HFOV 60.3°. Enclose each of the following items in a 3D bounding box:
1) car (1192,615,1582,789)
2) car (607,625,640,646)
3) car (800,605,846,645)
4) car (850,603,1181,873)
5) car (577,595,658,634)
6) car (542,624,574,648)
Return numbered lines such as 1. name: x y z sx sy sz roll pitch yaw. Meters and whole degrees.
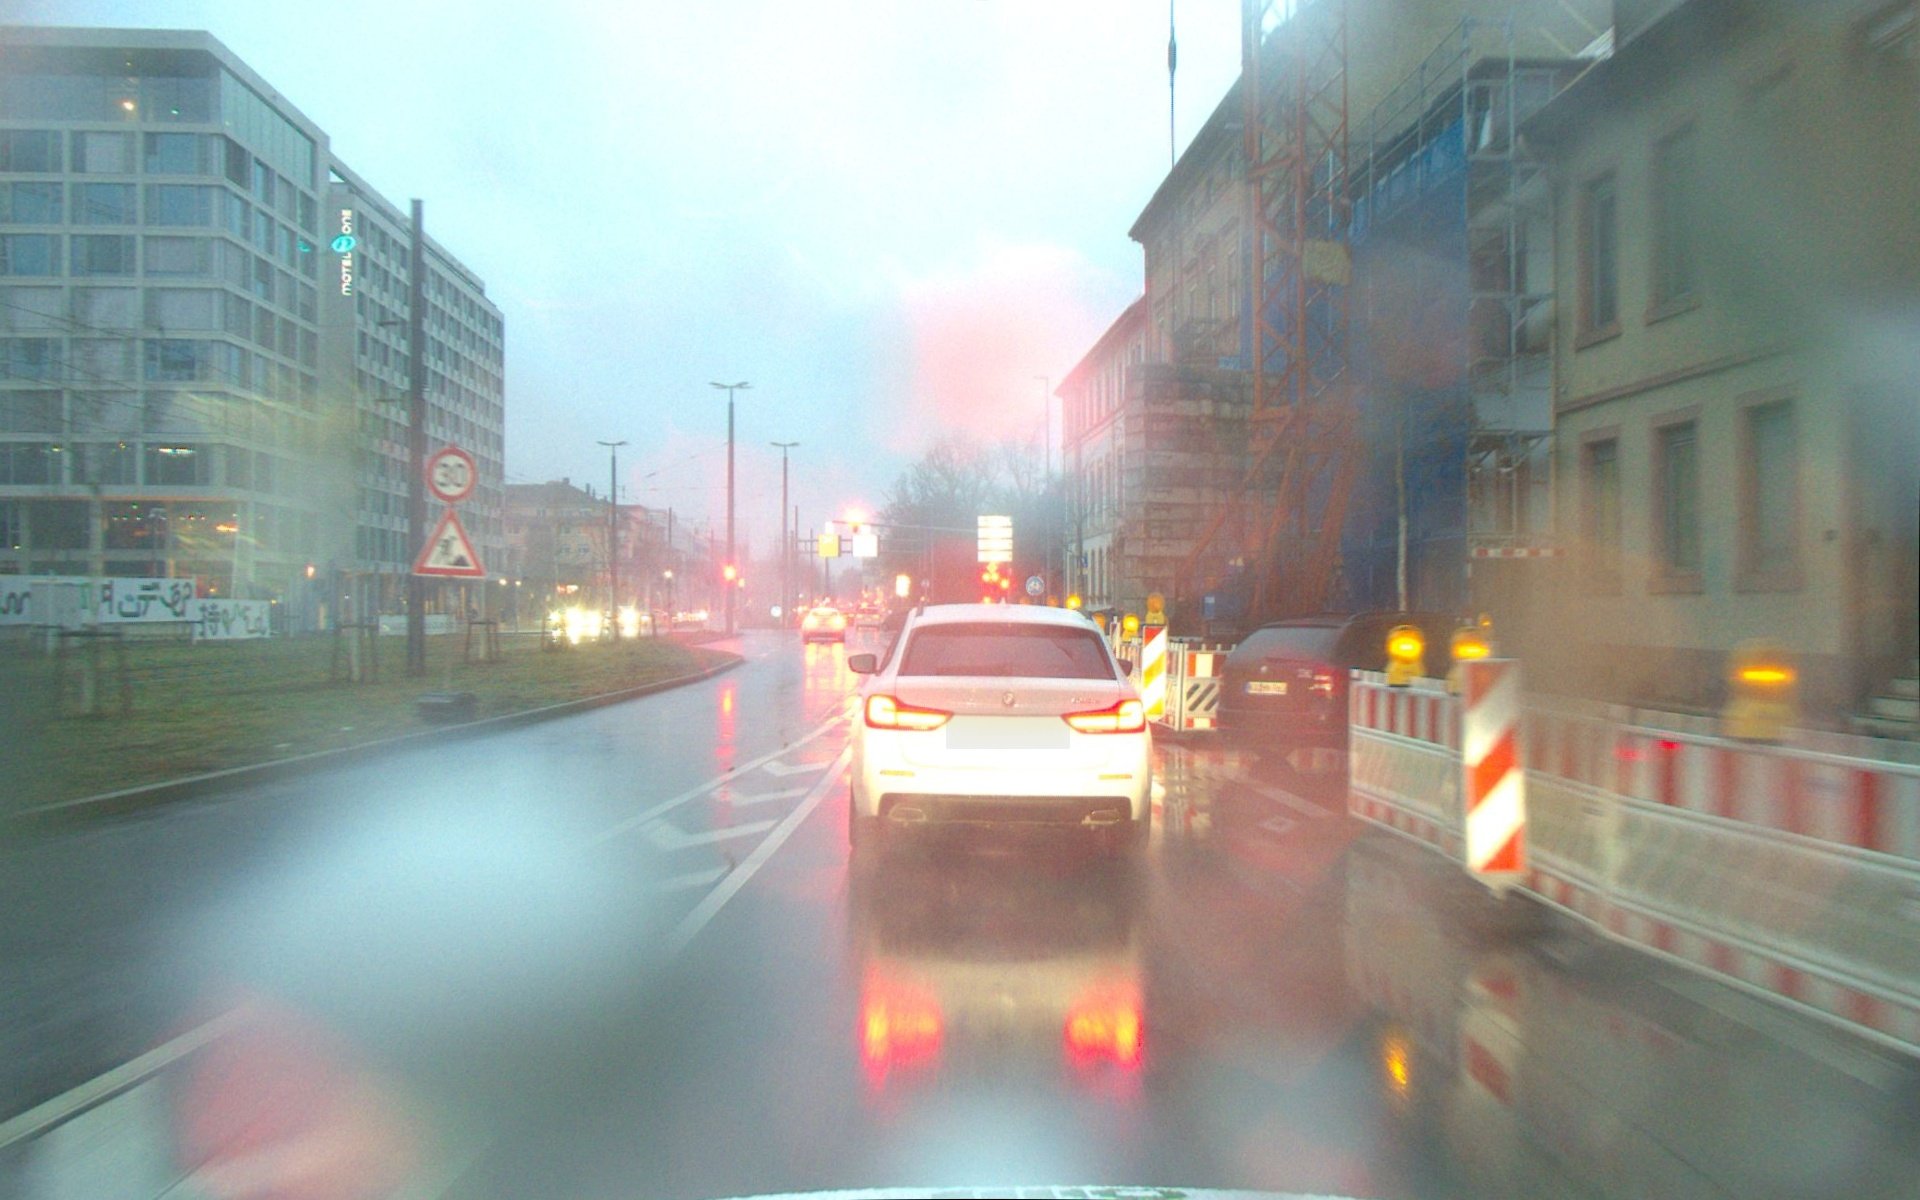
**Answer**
1. car: 4.447 0.967 16.967 4.055 1.544 1.881 1 -1 -40
2. car: -27.461 2.894 135.014 1.819 1.669 4.032 1 0 1
3. car: -5.902 1.061 71.795 1.863 1.670 3.997 1 0 -3
4. car: 0.156 0.792 11.713 1.815 1.491 4.942 1 0 -4
5. car: -18.280 0.773 88.138 3.932 2.010 1.987 1 -1 -22
6. car: -26.743 2.407 110.141 1.706 1.518 3.536 1 0 -8
